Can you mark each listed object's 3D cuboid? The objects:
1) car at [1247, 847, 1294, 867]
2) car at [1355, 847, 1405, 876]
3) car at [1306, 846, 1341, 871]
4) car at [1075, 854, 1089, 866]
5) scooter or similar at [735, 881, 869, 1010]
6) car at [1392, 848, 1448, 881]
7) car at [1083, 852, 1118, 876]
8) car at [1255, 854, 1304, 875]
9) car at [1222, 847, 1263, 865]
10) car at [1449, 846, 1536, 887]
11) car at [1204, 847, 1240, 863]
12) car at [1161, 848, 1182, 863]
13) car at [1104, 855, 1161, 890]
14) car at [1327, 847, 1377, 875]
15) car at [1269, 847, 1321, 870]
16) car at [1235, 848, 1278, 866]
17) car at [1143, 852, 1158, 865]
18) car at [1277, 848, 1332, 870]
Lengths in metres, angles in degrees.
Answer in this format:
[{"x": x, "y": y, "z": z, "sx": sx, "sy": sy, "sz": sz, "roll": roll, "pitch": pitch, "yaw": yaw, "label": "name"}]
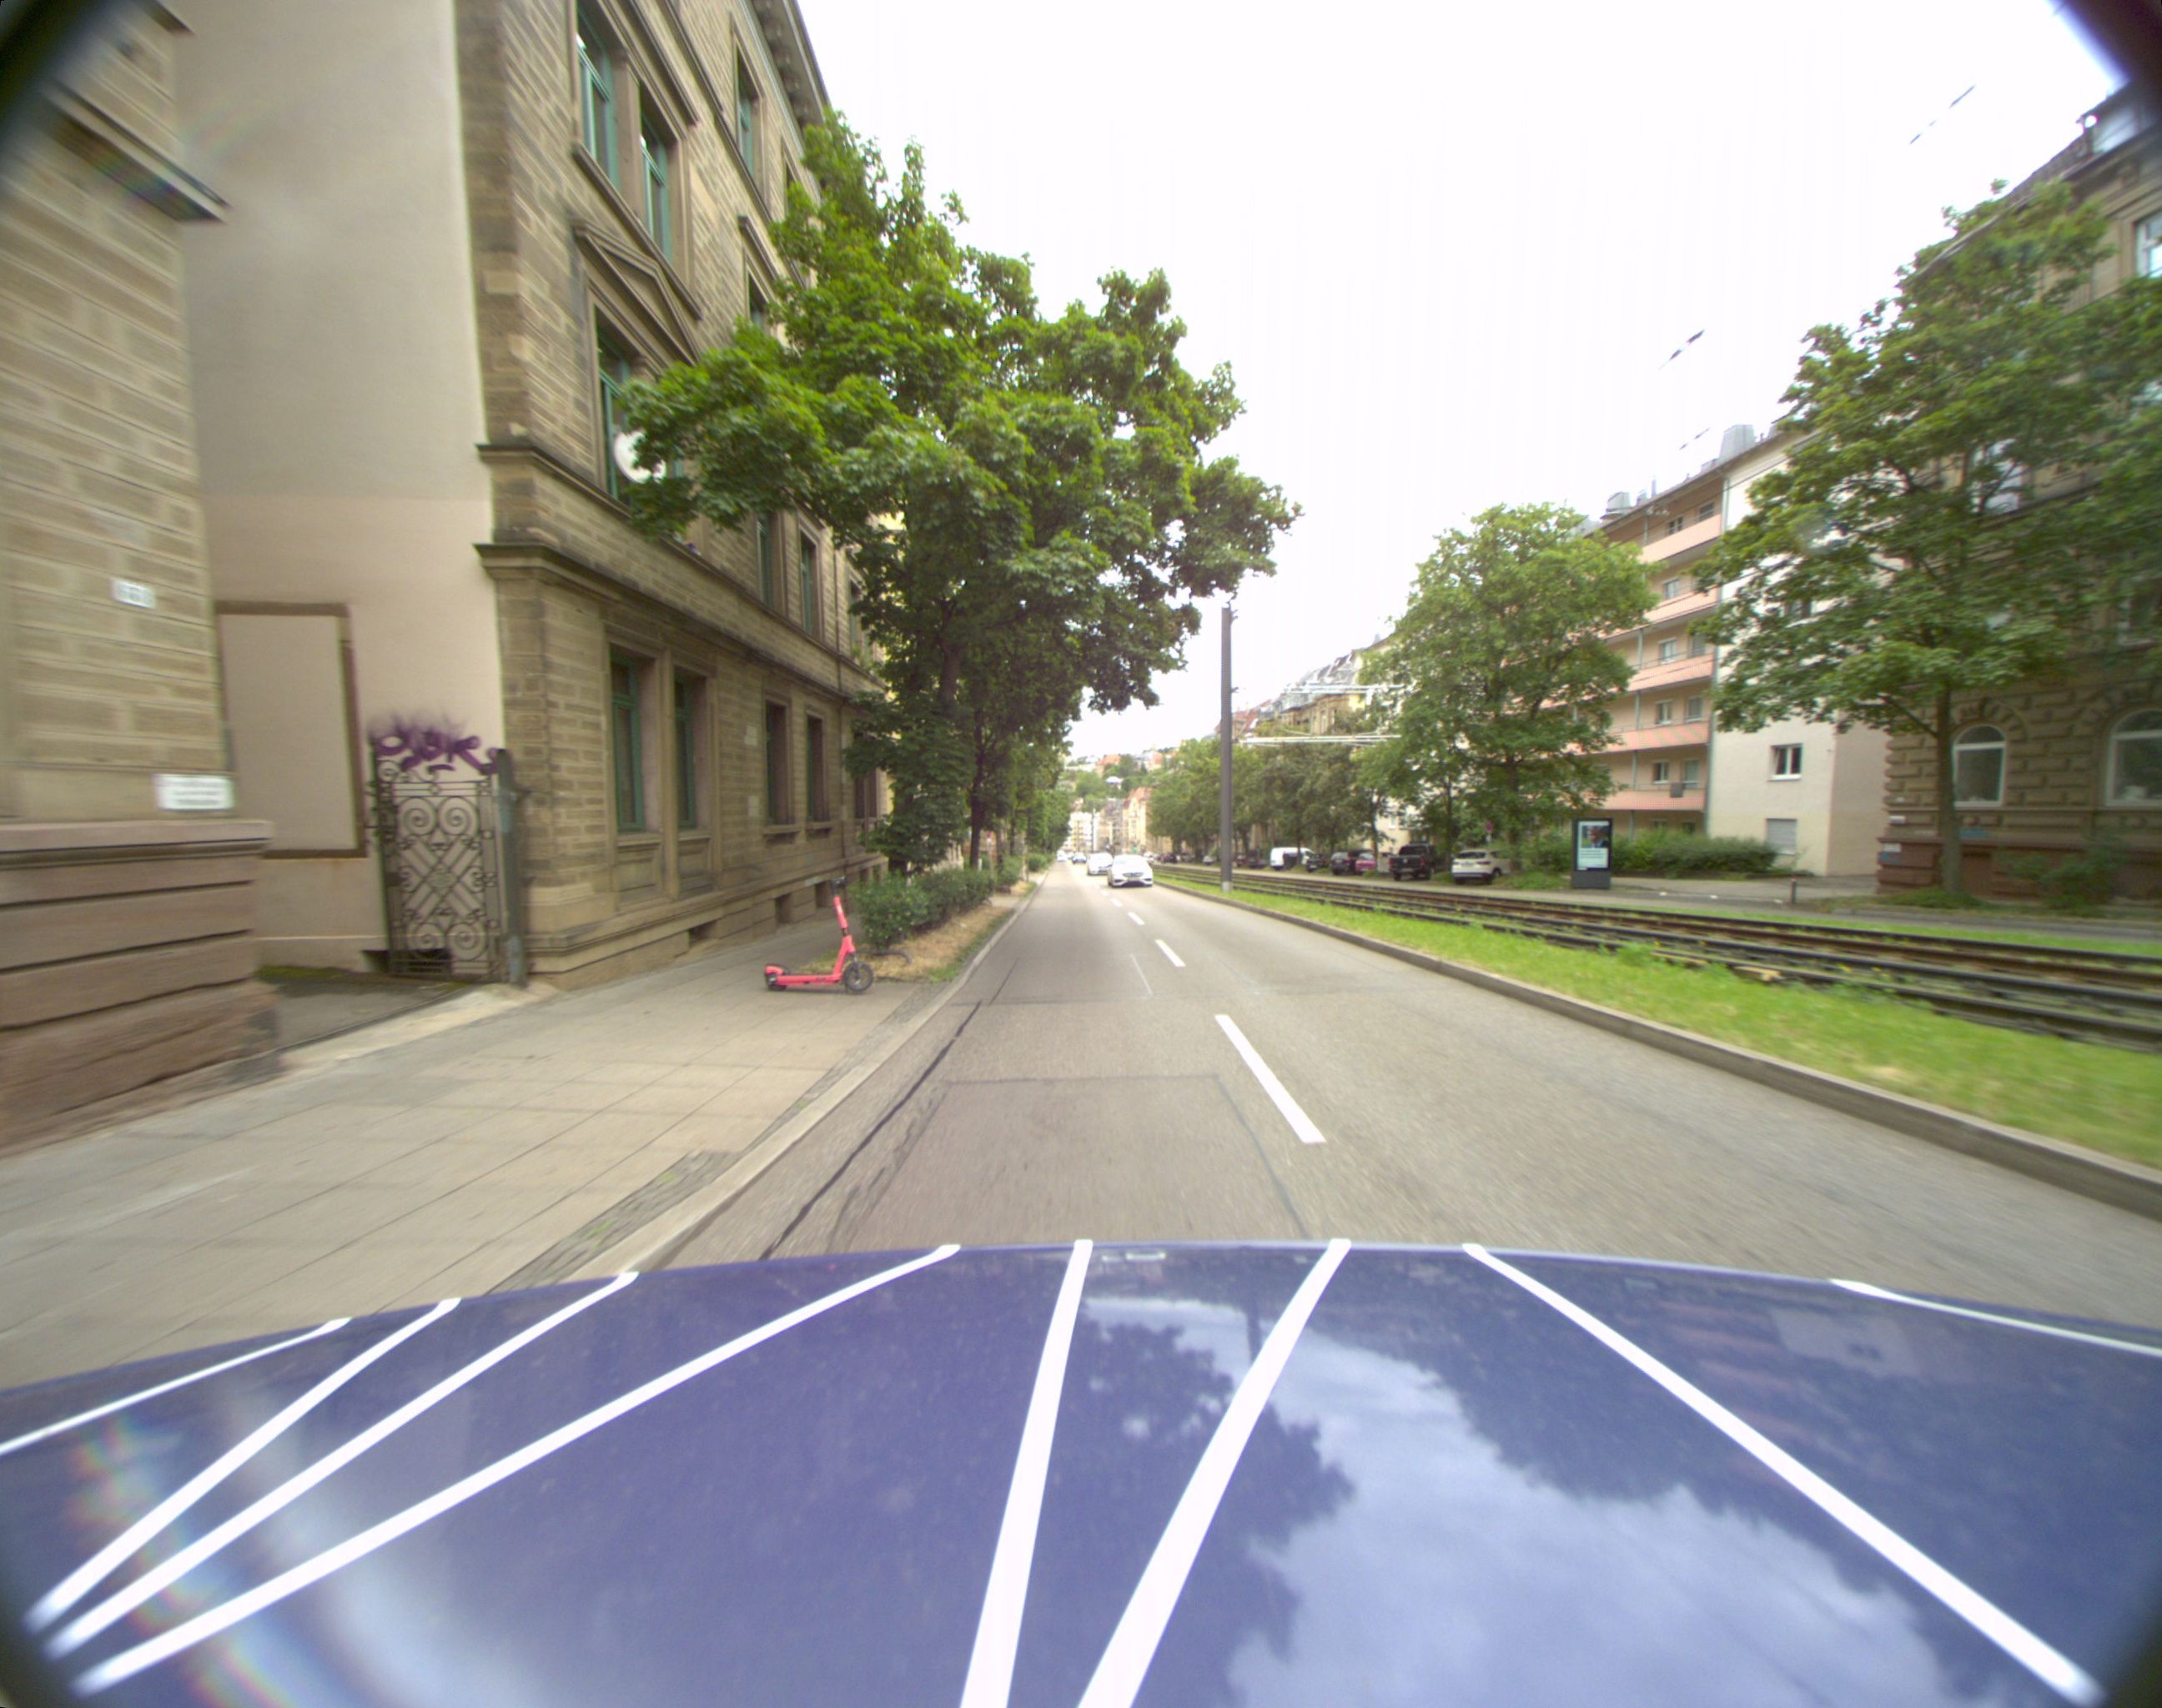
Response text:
[{"x": 17.415, "y": 0.240, "z": 69.950, "sx": 3.860, "sy": 1.803, "sz": 1.782, "roll": -1, "pitch": 0, "yaw": -17, "label": "car"}, {"x": 18.353, "y": 0.438, "z": 46.589, "sx": 1.779, "sy": 1.678, "sz": 3.866, "roll": 0, "pitch": 0, "yaw": 39, "label": "car"}, {"x": 17.462, "y": 0.311, "z": 54.634, "sx": 1.780, "sy": 1.678, "sz": 3.864, "roll": 0, "pitch": 1, "yaw": 27, "label": "car"}, {"x": 0.142, "y": 0.843, "z": 110.257, "sx": 1.882, "sy": 1.727, "sz": 4.000, "roll": -1, "pitch": 0, "yaw": 0, "label": "car"}, {"x": -2.953, "y": 0.965, "z": 8.137, "sx": 1.199, "sy": 1.266, "sz": 0.629, "roll": 3, "pitch": 1, "yaw": -10, "label": "scooter or similar"}, {"x": 17.784, "y": 0.517, "z": 39.768, "sx": 1.779, "sy": 1.678, "sz": 3.866, "roll": 0, "pitch": 0, "yaw": 39, "label": "car"}, {"x": 1.318, "y": 0.653, "z": 52.670, "sx": 1.999, "sy": 1.479, "sz": 4.228, "roll": -3, "pitch": 0, "yaw": -4, "label": "car"}, {"x": 17.585, "y": 0.885, "z": 67.437, "sx": 3.860, "sy": 1.803, "sz": 1.782, "roll": -1, "pitch": 0, "yaw": -17, "label": "car"}, {"x": 17.283, "y": 0.189, "z": 81.383, "sx": 3.860, "sy": 1.803, "sz": 1.782, "roll": -1, "pitch": 0, "yaw": -17, "label": "car"}, {"x": 18.375, "y": 0.509, "z": 33.878, "sx": 3.864, "sy": 1.678, "sz": 1.780, "roll": -2, "pitch": 1, "yaw": -33, "label": "car"}, {"x": 16.755, "y": 0.091, "z": 90.175, "sx": 3.860, "sy": 1.803, "sz": 1.782, "roll": -1, "pitch": 0, "yaw": -17, "label": "car"}, {"x": 12.363, "y": 0.179, "z": 103.889, "sx": 2.000, "sy": 2.002, "sz": 3.997, "roll": -1, "pitch": 0, "yaw": -7, "label": "car"}, {"x": 2.281, "y": 0.785, "z": 34.712, "sx": 1.999, "sy": 1.390, "sz": 4.228, "roll": -3, "pitch": 0, "yaw": -4, "label": "car"}, {"x": 17.430, "y": 0.409, "z": 48.750, "sx": 1.779, "sy": 1.678, "sz": 3.865, "roll": 0, "pitch": 1, "yaw": 40, "label": "car"}, {"x": 17.400, "y": 0.346, "z": 61.801, "sx": 3.863, "sy": 1.803, "sz": 1.781, "roll": -1, "pitch": 0, "yaw": -24, "label": "car"}, {"x": 17.508, "y": 0.278, "z": 75.926, "sx": 3.860, "sy": 1.803, "sz": 1.782, "roll": -1, "pitch": 0, "yaw": -17, "label": "car"}, {"x": 10.664, "y": 0.648, "z": 117.201, "sx": 1.998, "sy": 2.002, "sz": 4.000, "roll": -1, "pitch": 0, "yaw": 0, "label": "car"}, {"x": 17.478, "y": 0.372, "z": 59.472, "sx": 3.863, "sy": 1.678, "sz": 1.781, "roll": -1, "pitch": 0, "yaw": -24, "label": "car"}]
